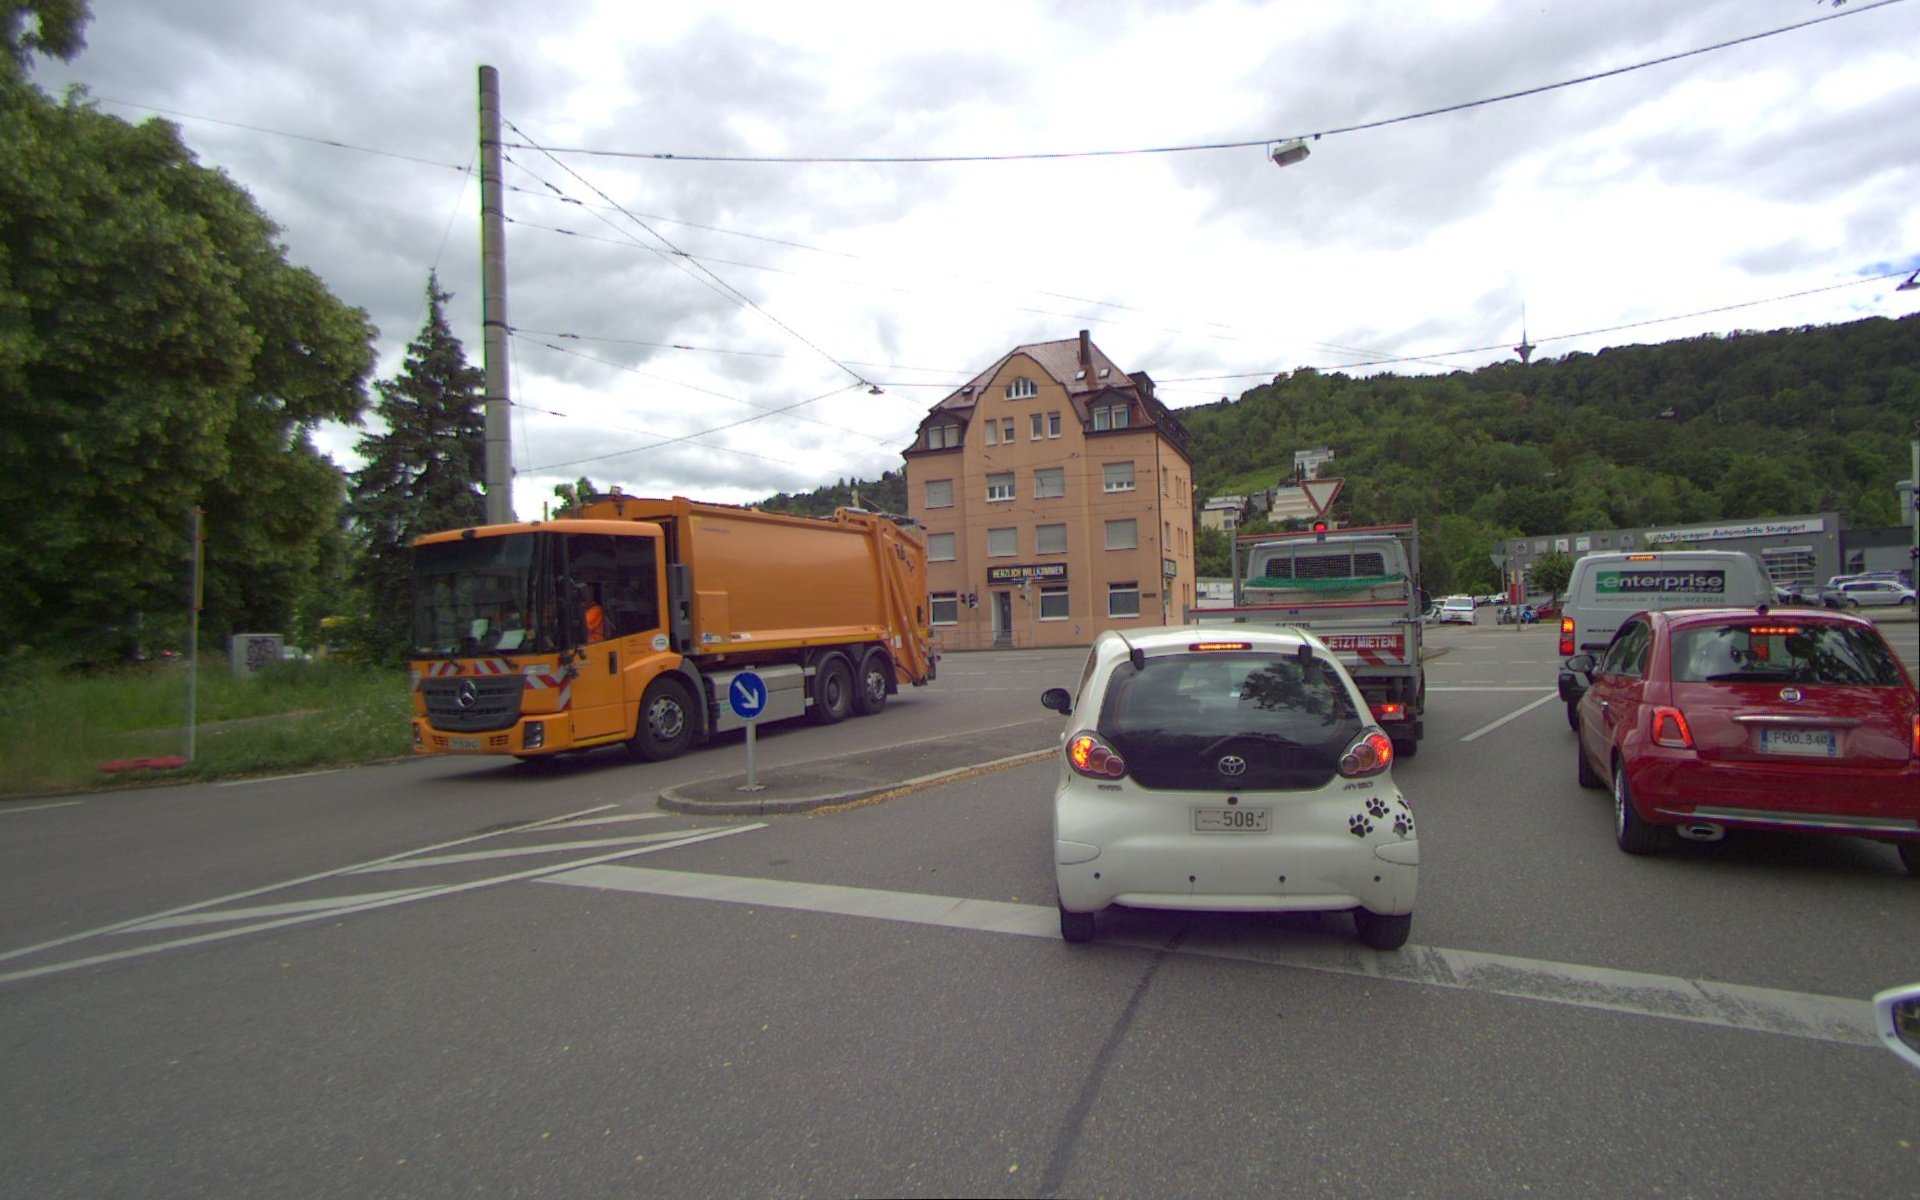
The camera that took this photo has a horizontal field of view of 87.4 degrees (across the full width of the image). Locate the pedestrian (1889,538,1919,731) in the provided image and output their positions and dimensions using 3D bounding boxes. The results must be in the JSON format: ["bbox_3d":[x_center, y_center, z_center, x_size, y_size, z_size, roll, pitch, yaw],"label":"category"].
[{"bbox_3d":[9.644,0.323,9.681,0.682,1.881,0.788,-3,-1,21],"label":"pedestrian"}]

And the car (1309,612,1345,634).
[{"bbox_3d":[28.743,1.770,78.621,1.755,1.539,3.617,-3,-1,35],"label":"car"}]

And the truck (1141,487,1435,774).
[{"bbox_3d":[4.160,0.341,11.763,2.385,2.429,6.022,-3,-2,26],"label":"truck"}]

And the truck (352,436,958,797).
[{"bbox_3d":[-3.359,0.181,15.291,2.744,3.573,10.416,-1,0,23],"label":"truck"}]

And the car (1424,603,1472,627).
[{"bbox_3d":[34.954,1.091,72.082,1.740,1.553,4.093,-3,-1,6],"label":"car"}]

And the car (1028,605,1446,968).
[{"bbox_3d":[1.351,0.826,5.847,1.611,1.451,3.433,-3,-2,8],"label":"car"}]

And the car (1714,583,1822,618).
[{"bbox_3d":[40.297,0.033,50.164,1.757,1.520,3.846,-2,-2,-33],"label":"car"}]

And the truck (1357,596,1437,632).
[{"bbox_3d":[32.834,1.081,75.614,5.095,2.425,2.001,-3,-1,12],"label":"truck"}]

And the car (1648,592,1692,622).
[{"bbox_3d":[47.364,0.447,66.970,1.971,1.840,3.980,-3,-1,40],"label":"car"}]

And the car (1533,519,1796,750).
[{"bbox_3d":[8.368,0.347,11.721,1.967,2.134,4.737,-4,-2,41],"label":"car"}]

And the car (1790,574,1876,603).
[{"bbox_3d":[64.969,-0.841,74.799,4.744,1.826,1.766,-4,-2,42],"label":"car"}]

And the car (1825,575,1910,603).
[{"bbox_3d":[69.566,-0.836,77.058,4.744,1.826,1.766,-4,-2,42],"label":"car"}]

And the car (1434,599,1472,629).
[{"bbox_3d":[32.426,0.904,65.998,1.833,1.841,4.393,-3,-1,30],"label":"car"}]

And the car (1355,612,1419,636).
[{"bbox_3d":[31.029,1.771,73.050,4.138,1.553,1.774,-3,-1,24],"label":"car"}]

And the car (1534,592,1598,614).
[{"bbox_3d":[48.088,0.268,79.771,4.035,1.553,1.765,-4,-2,44],"label":"car"}]

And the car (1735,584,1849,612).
[{"bbox_3d":[46.686,-0.106,56.467,1.759,1.345,4.639,-2,-2,-36],"label":"car"}]

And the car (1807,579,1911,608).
[{"bbox_3d":[55.985,-0.398,62.640,4.744,1.553,1.766,-4,-2,42],"label":"car"}]

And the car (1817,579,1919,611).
[{"bbox_3d":[58.324,-0.309,64.646,4.744,1.826,1.766,-4,-2,42],"label":"car"}]

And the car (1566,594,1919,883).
[{"bbox_3d":[5.242,0.735,6.898,1.614,1.476,3.425,-2,-1,28],"label":"car"}]

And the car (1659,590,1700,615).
[{"bbox_3d":[47.763,0.162,66.650,1.750,1.553,4.068,-3,-2,42],"label":"car"}]
